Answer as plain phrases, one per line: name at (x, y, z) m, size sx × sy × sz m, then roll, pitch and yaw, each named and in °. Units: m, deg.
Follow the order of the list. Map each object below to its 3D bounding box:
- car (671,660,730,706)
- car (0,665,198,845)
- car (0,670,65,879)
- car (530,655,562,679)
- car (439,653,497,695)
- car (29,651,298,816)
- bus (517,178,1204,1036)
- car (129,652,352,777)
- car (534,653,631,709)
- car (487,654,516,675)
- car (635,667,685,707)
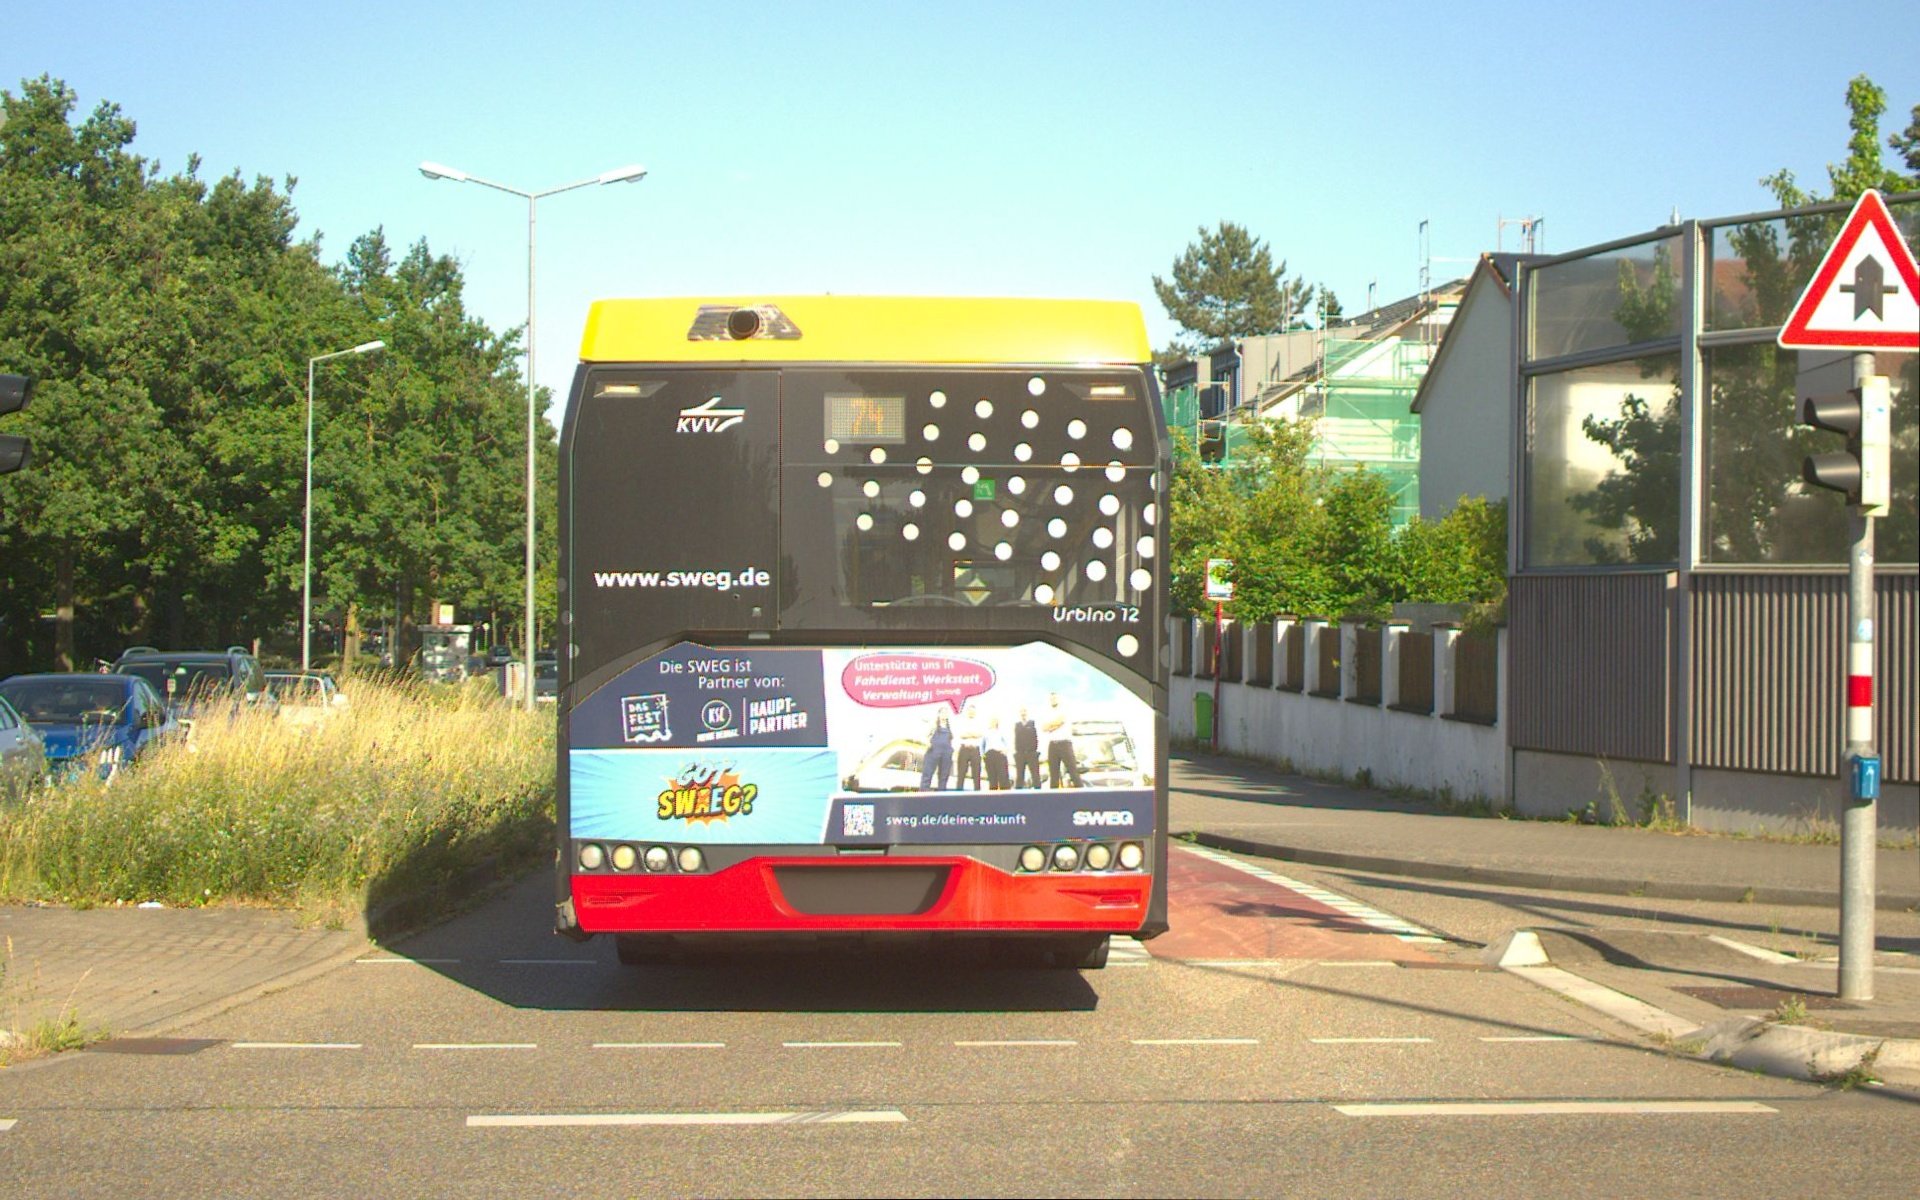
car at (-9.987, 3.172, 132.089) m, size 1.935 × 1.698 × 4.001 m, roll 1°, pitch -1°, yaw -9°
car at (-8.118, 1.344, 30.982) m, size 1.746 × 1.478 × 3.888 m, roll 0°, pitch -1°, yaw -2°
car at (-7.896, 1.282, 24.875) m, size 1.793 × 1.501 × 4.530 m, roll 0°, pitch -1°, yaw -2°
car at (-26.744, 4.315, 222.010) m, size 1.933 × 1.537 × 4.001 m, roll 1°, pitch -1°, yaw -9°
car at (-18.040, 2.714, 125.998) m, size 1.935 × 1.474 × 4.001 m, roll 1°, pitch -1°, yaw -10°
car at (-8.358, 1.364, 36.480) m, size 1.993 × 1.611 × 4.530 m, roll 0°, pitch -1°, yaw -3°
bus at (-0.563, 0.183, 20.035) m, size 2.757 × 3.447 × 12.397 m, roll 0°, pitch -2°, yaw -2°
car at (-8.761, 1.387, 42.220) m, size 1.993 × 1.446 × 4.399 m, roll 0°, pitch -1°, yaw -3°
car at (-9.978, 2.122, 91.081) m, size 1.710 × 1.426 × 3.999 m, roll -1°, pitch -1°, yaw 6°
car at (-32.990, 4.637, 247.251) m, size 1.933 × 1.449 × 4.001 m, roll 1°, pitch -1°, yaw -10°
car at (-13.449, 3.893, 153.818) m, size 1.933 × 1.736 × 4.001 m, roll 1°, pitch -1°, yaw -9°
